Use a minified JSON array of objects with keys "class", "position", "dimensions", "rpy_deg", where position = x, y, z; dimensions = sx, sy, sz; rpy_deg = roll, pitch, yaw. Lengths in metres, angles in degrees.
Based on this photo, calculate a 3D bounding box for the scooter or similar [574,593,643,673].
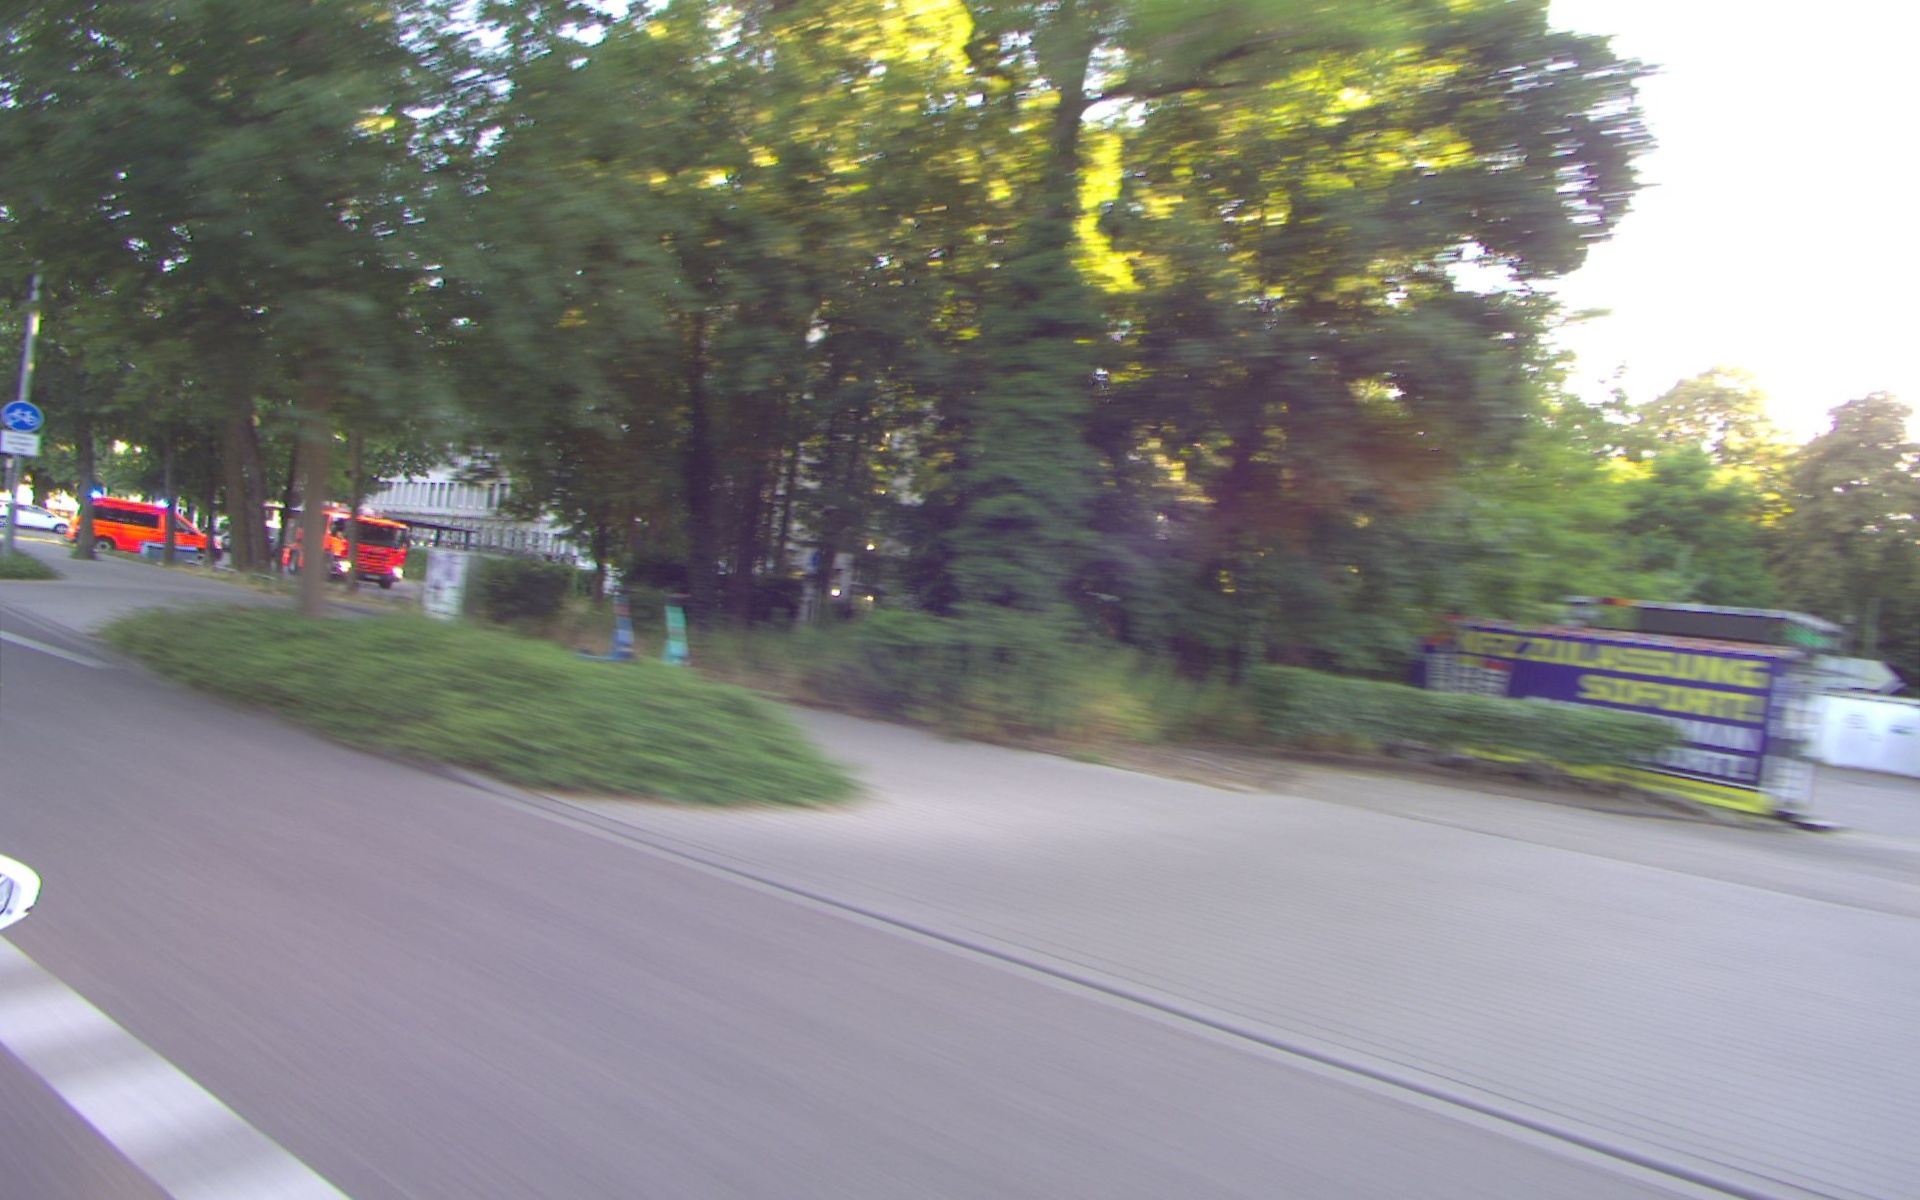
[{"class":"scooter or similar","position":[-5.132,0.473,14.654],"dimensions":[0.964,1.054,0.310],"rpy_deg":[7,0,32]}]

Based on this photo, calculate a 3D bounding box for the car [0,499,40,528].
[{"class":"car","position":[-63.419,-5.873,65.811],"dimensions":[1.690,1.609,4.457],"rpy_deg":[7,-1,38]}]

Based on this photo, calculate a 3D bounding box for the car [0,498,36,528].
[{"class":"car","position":[-61.236,-5.703,63.184],"dimensions":[1.690,1.609,4.457],"rpy_deg":[7,-1,38]}]

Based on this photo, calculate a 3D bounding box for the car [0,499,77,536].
[{"class":"car","position":[-53.587,-4.769,57.962],"dimensions":[1.690,1.609,3.772],"rpy_deg":[7,-1,38]}]

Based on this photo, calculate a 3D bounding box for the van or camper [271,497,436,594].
[{"class":"van or camper","position":[-26.101,-2.388,43.126],"dimensions":[8.116,3.236,3.437],"rpy_deg":[6,-3,41]}]

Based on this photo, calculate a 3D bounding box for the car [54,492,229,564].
[{"class":"car","position":[-31.972,-2.772,39.435],"dimensions":[1.894,2.014,4.909],"rpy_deg":[7,-1,38]}]

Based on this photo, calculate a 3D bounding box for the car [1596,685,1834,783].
[{"class":"car","position":[19.715,3.411,26.426],"dimensions":[1.912,1.729,4.638],"rpy_deg":[4,2,-45]}]

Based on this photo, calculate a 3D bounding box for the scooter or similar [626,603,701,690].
[{"class":"scooter or similar","position":[-4.030,0.622,13.658],"dimensions":[0.964,1.054,0.310],"rpy_deg":[7,0,32]}]
